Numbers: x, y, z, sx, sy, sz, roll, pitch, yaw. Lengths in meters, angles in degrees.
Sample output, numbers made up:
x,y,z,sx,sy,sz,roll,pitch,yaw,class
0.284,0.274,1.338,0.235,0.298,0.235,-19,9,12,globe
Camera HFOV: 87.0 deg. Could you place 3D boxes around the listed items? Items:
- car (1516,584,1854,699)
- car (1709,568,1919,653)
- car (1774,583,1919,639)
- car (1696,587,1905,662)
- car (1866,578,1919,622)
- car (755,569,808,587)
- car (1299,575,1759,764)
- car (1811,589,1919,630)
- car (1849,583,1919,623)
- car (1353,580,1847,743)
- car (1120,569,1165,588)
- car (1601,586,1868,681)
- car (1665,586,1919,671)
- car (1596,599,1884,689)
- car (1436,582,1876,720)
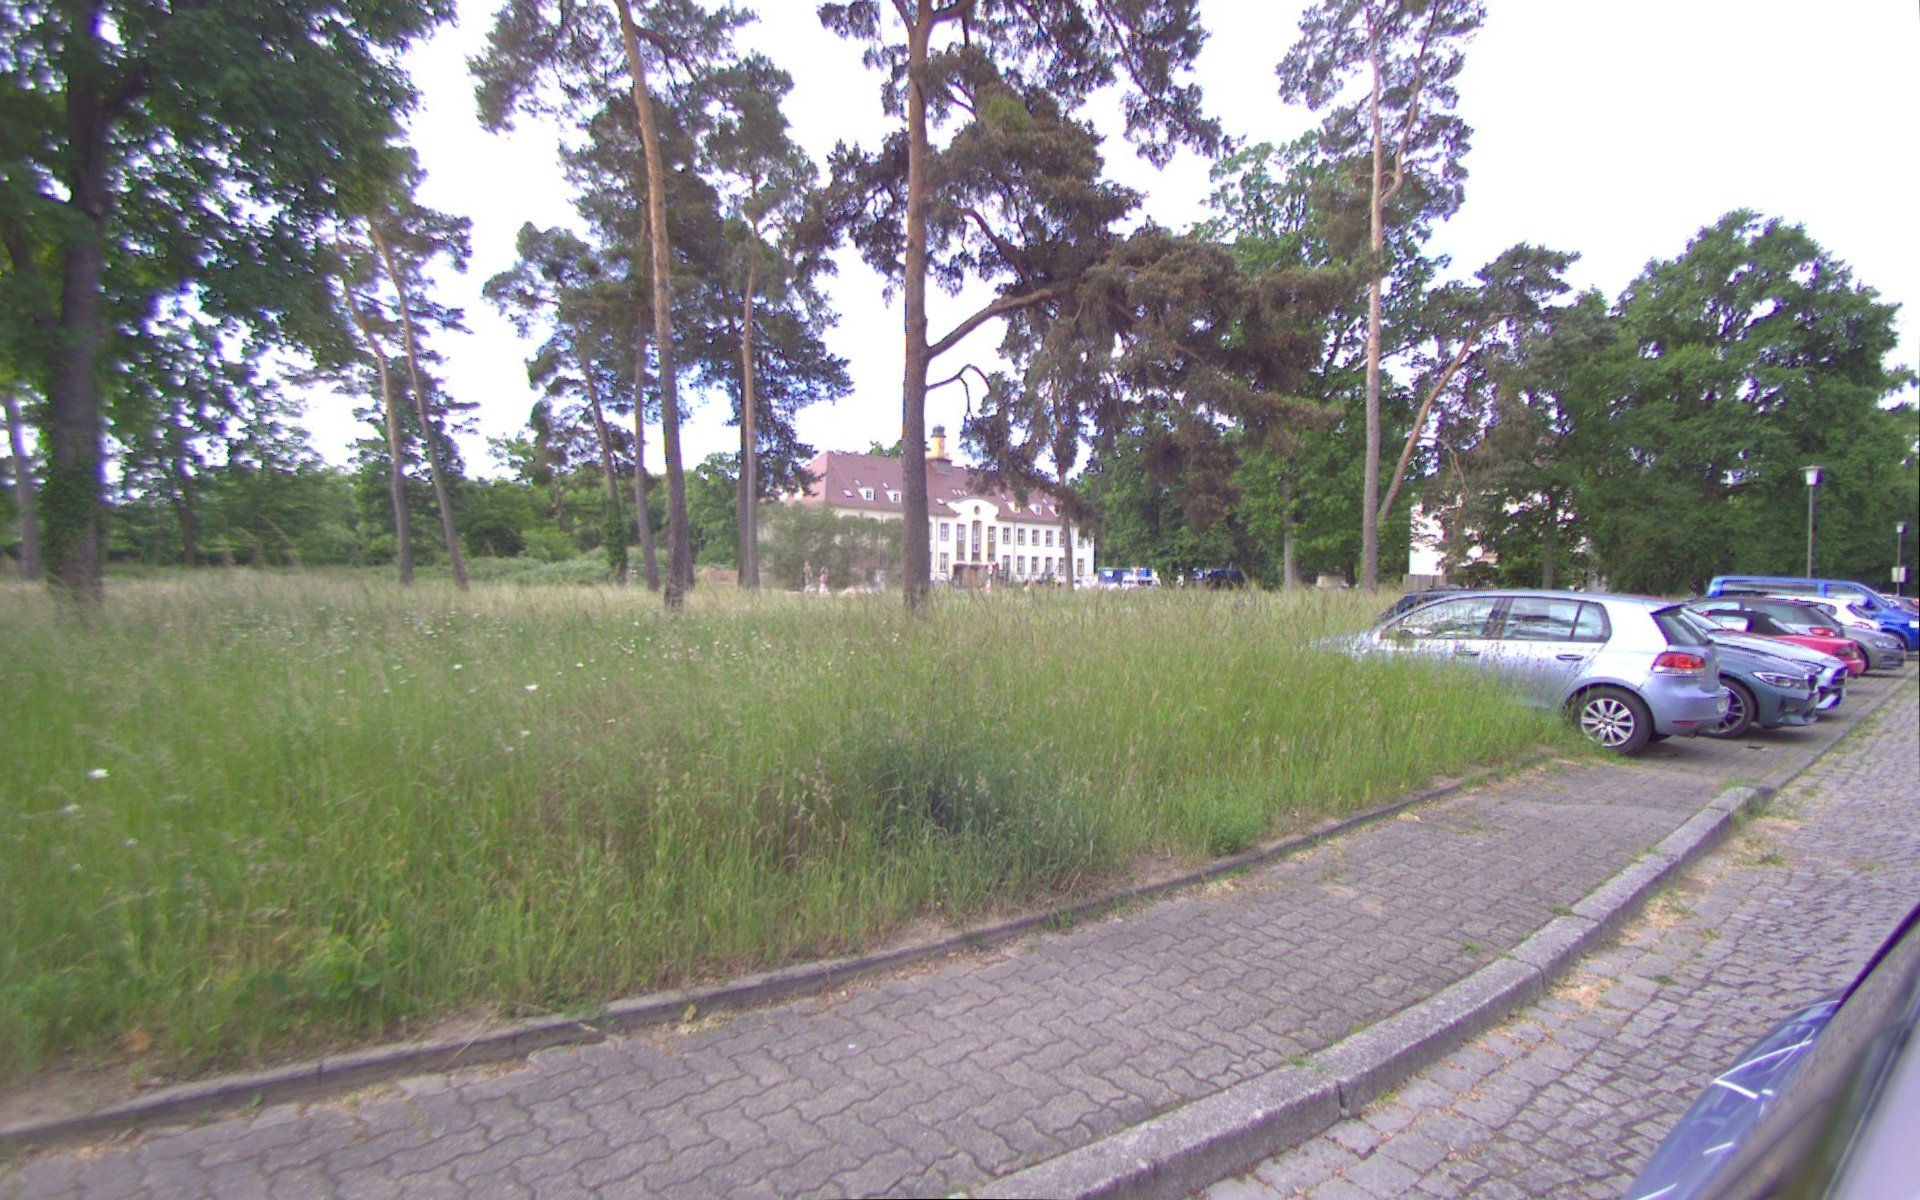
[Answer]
x,y,z,sx,sy,sz,roll,pitch,yaw,class
11.073,0.529,15.663,1.769,1.470,3.968,0,2,-42,car
22.705,0.205,26.415,1.966,1.962,4.744,0,3,-43,car
28.955,0.329,32.605,1.966,1.630,3.993,0,2,-42,car
18.818,0.483,22.761,1.609,1.470,3.406,0,2,-42,car
46.966,0.015,49.297,1.965,2.038,3.994,0,2,-41,car
-19.649,-2.470,111.369,6.165,1.882,2.307,2,2,38,car
5.617,0.546,10.336,1.579,1.444,3.769,0,3,-43,car
36.180,0.332,39.755,1.966,1.549,3.992,0,0,-42,car
43.659,0.136,46.508,1.965,1.784,4.005,0,2,-41,car
7.440,0.564,12.166,4.759,1.501,1.733,3,2,45,car
20.196,-2.390,111.867,5.132,2.038,2.153,-1,2,-40,car
14.536,0.538,19.123,1.770,1.524,3.779,0,2,-44,car
16.955,0.510,20.682,1.788,1.474,3.848,0,2,-40,car
12.951,0.664,16.960,1.469,1.222,3.597,0,2,-42,car
9.447,0.555,14.109,1.781,1.501,4.764,0,2,-42,car
